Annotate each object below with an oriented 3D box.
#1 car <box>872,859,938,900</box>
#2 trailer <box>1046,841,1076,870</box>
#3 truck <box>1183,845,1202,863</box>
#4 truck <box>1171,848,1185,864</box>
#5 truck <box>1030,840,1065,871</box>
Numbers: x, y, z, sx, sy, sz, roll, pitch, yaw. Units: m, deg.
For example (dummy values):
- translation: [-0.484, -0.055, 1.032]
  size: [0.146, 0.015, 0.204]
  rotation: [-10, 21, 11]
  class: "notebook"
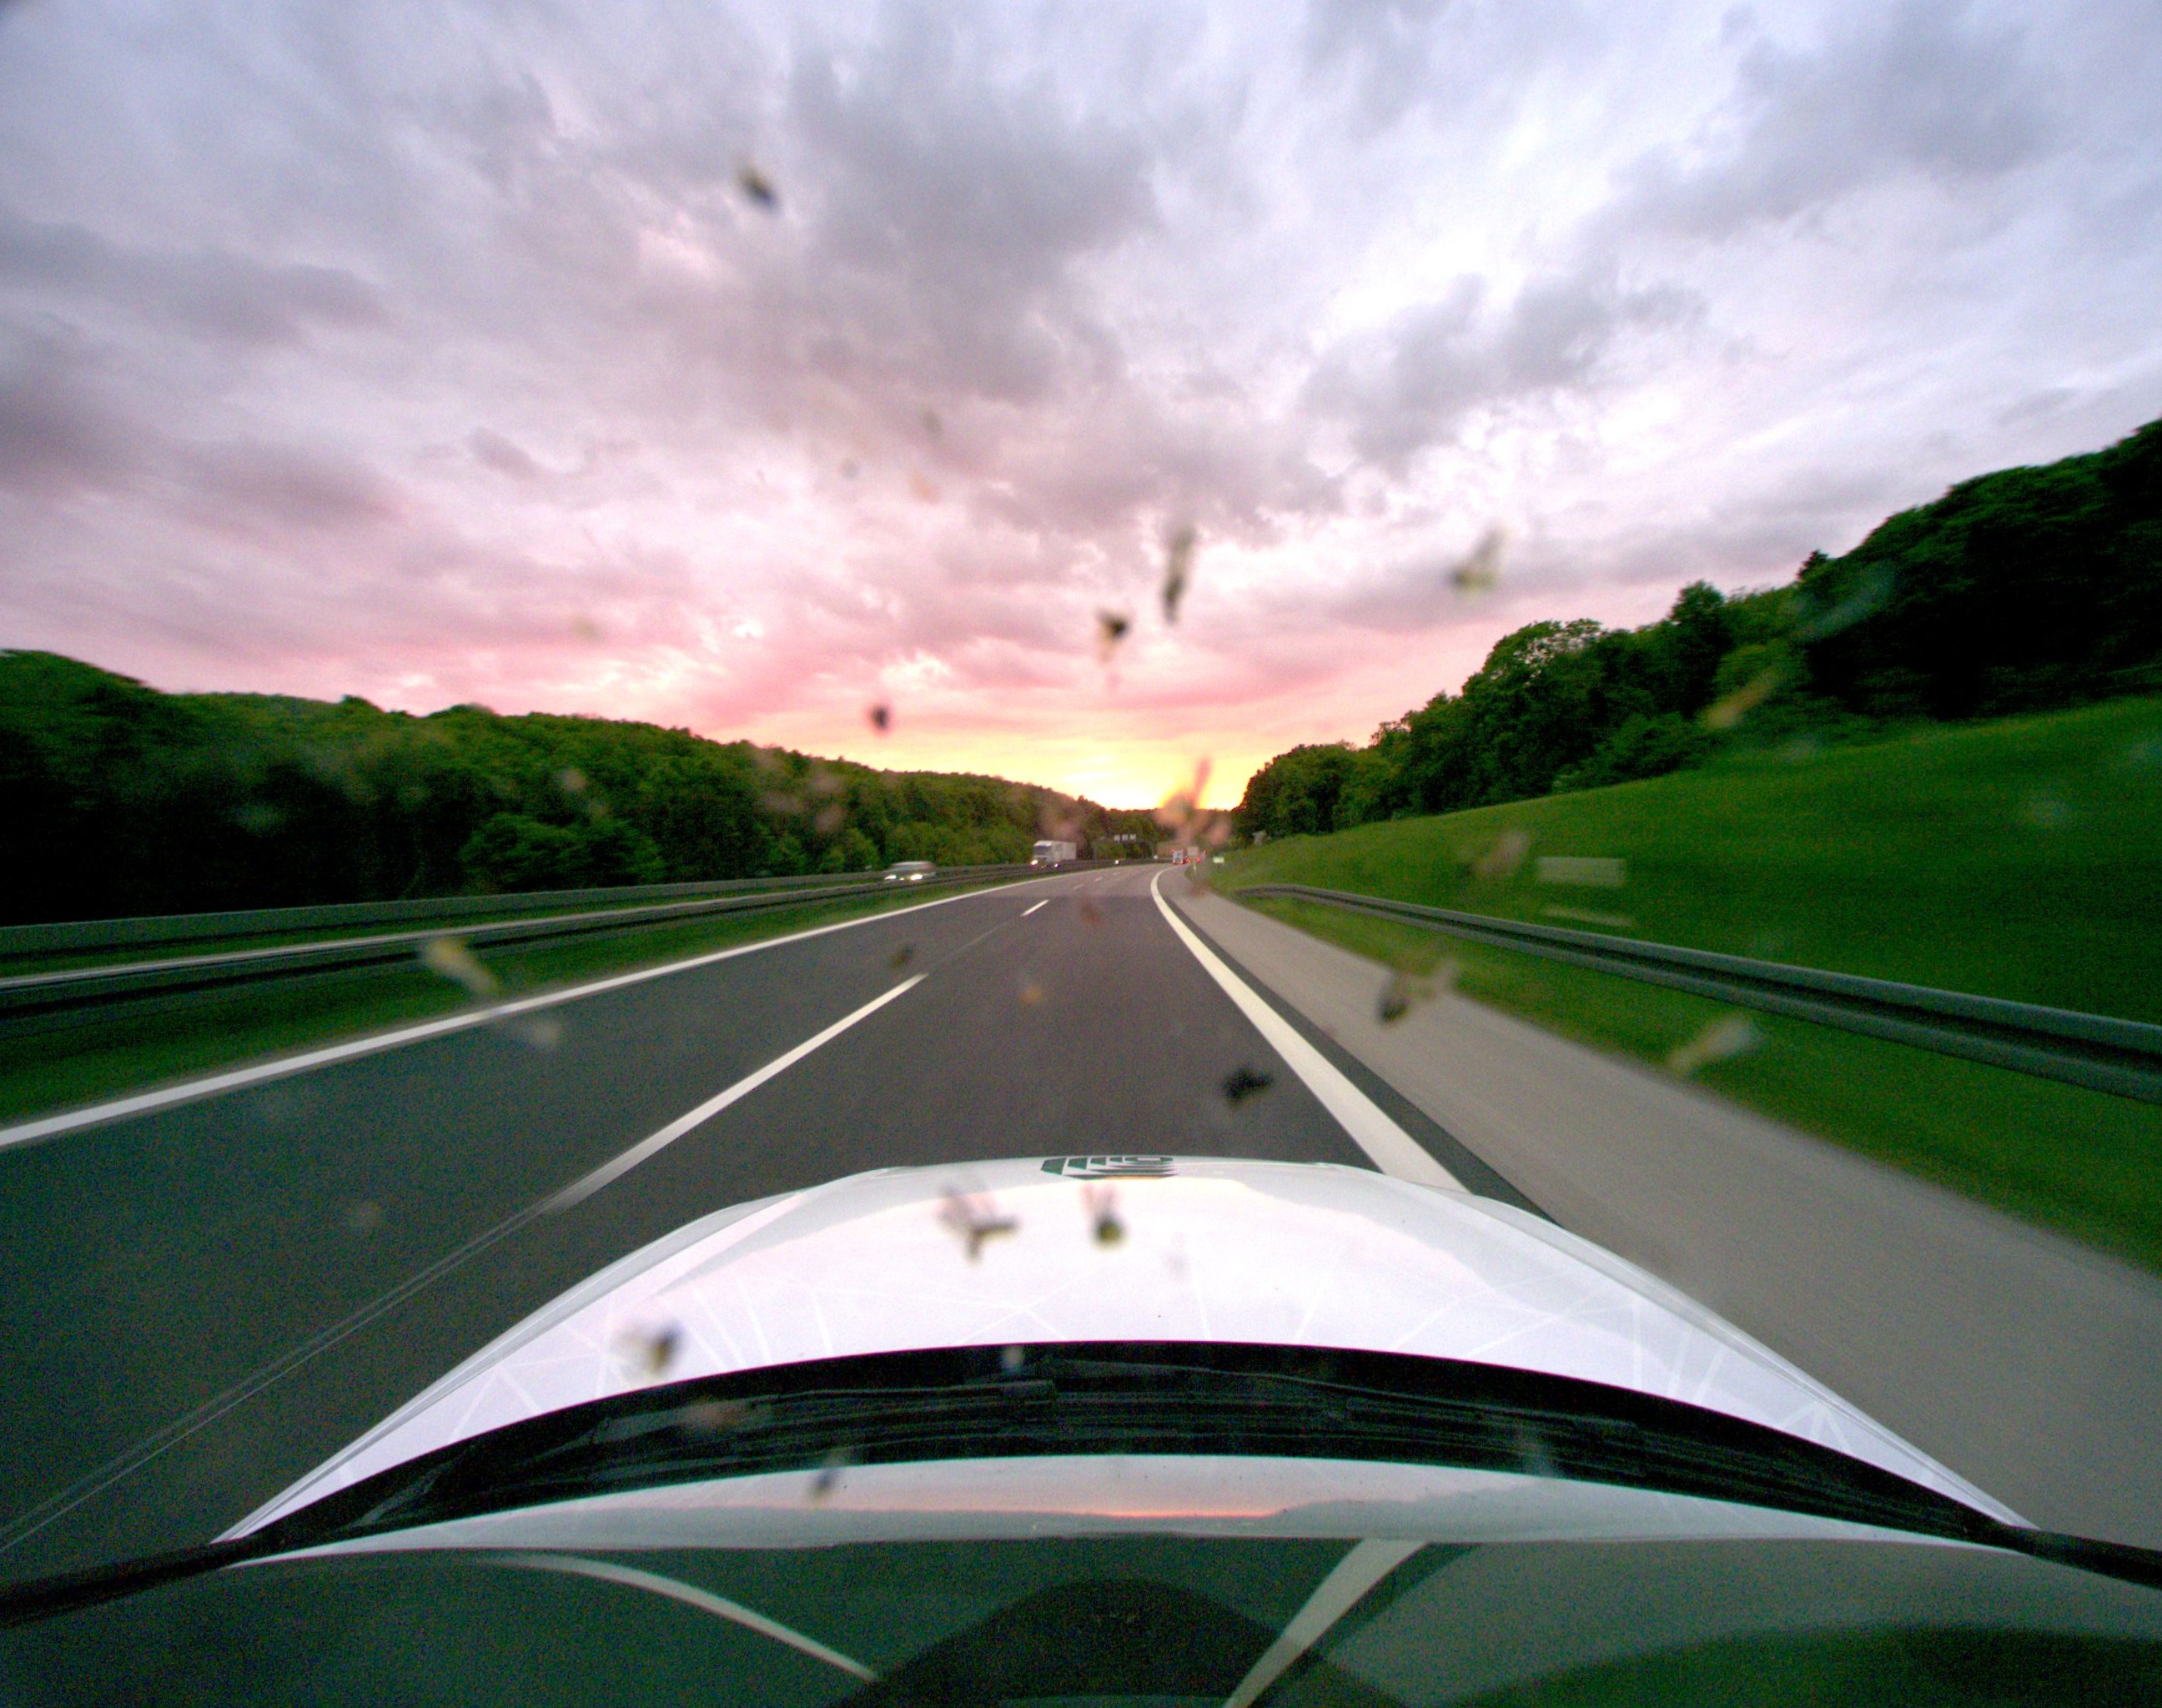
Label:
- translation: [-9.678, 1.336, 45.242]
  size: [1.984, 2.013, 5.176]
  rotation: [-3, 0, 5]
  class: "car"
- translation: [-3.034, 0.140, 127.664]
  size: [2.814, 4.317, 9.320]
  rotation: [-1, 0, 10]
  class: "trailer"
- translation: [29.002, -0.165, 210.340]
  size: [3.933, 4.286, 14.367]
  rotation: [-3, 0, 11]
  class: "truck"
- translation: [18.553, 0.425, 155.319]
  size: [2.262, 2.664, 5.252]
  rotation: [-3, 2, 10]
  class: "truck"
- translation: [-4.742, 0.187, 118.094]
  size: [2.847, 4.281, 10.092]
  rotation: [-1, 0, 9]
  class: "truck"
